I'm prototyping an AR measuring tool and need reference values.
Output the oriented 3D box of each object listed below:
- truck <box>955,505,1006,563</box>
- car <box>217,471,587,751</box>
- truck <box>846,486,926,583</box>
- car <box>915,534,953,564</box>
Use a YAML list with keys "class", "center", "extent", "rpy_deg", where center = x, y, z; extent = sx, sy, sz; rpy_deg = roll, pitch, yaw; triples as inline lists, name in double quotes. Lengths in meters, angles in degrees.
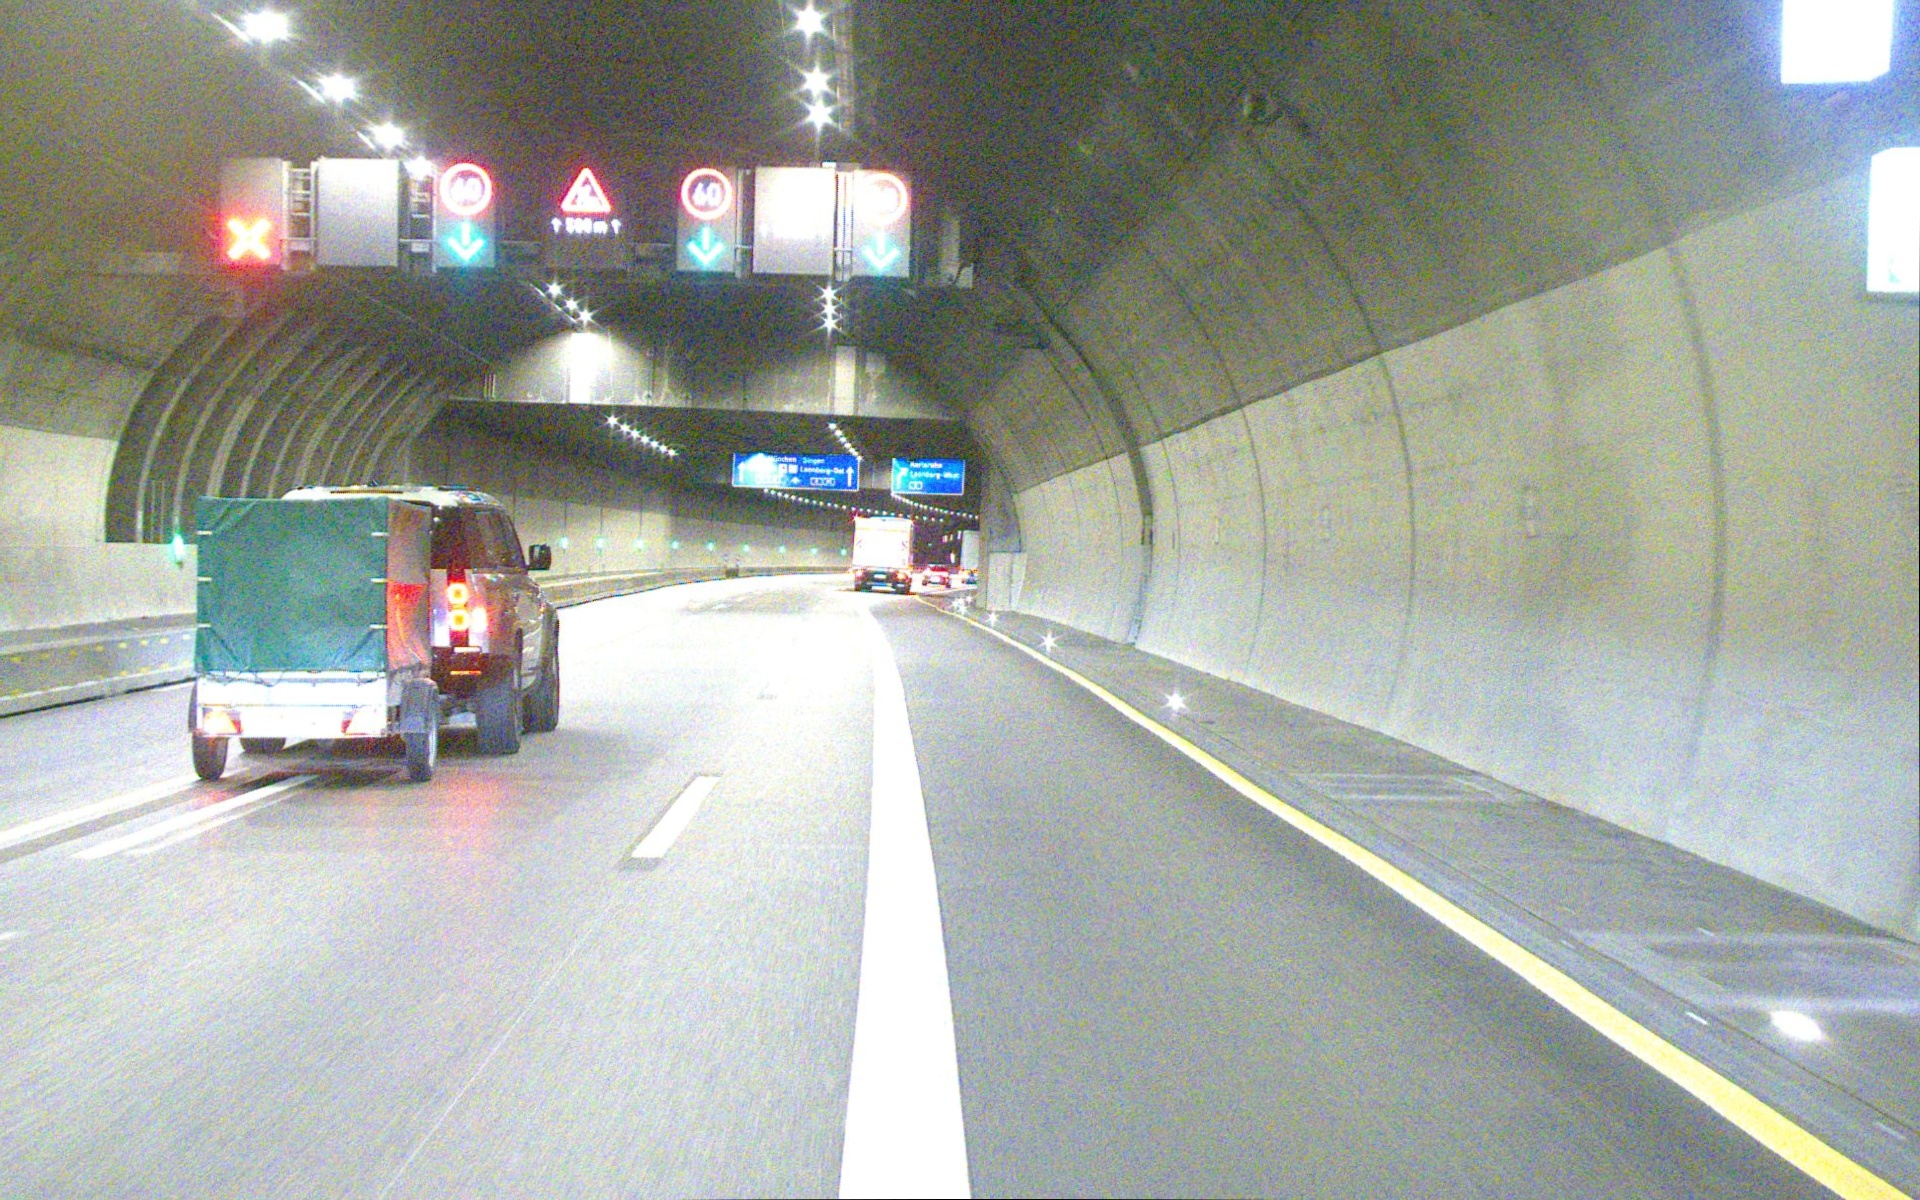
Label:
- class: "truck"
  center: [1.540, -5.010, 261.232]
  extent: [3.474, 4.301, 10.953]
  rpy_deg: [0, 1, -2]
- class: "car"
  center: [-4.129, 0.018, 26.336]
  extent: [1.993, 1.888, 5.454]
  rpy_deg: [1, 1, -1]
- class: "truck"
  center: [-3.552, -3.139, 161.851]
  extent: [3.474, 4.301, 10.953]
  rpy_deg: [1, 1, -2]
- class: "car"
  center: [-1.670, -3.279, 222.523]
  extent: [1.994, 1.888, 5.532]
  rpy_deg: [1, 1, 4]
